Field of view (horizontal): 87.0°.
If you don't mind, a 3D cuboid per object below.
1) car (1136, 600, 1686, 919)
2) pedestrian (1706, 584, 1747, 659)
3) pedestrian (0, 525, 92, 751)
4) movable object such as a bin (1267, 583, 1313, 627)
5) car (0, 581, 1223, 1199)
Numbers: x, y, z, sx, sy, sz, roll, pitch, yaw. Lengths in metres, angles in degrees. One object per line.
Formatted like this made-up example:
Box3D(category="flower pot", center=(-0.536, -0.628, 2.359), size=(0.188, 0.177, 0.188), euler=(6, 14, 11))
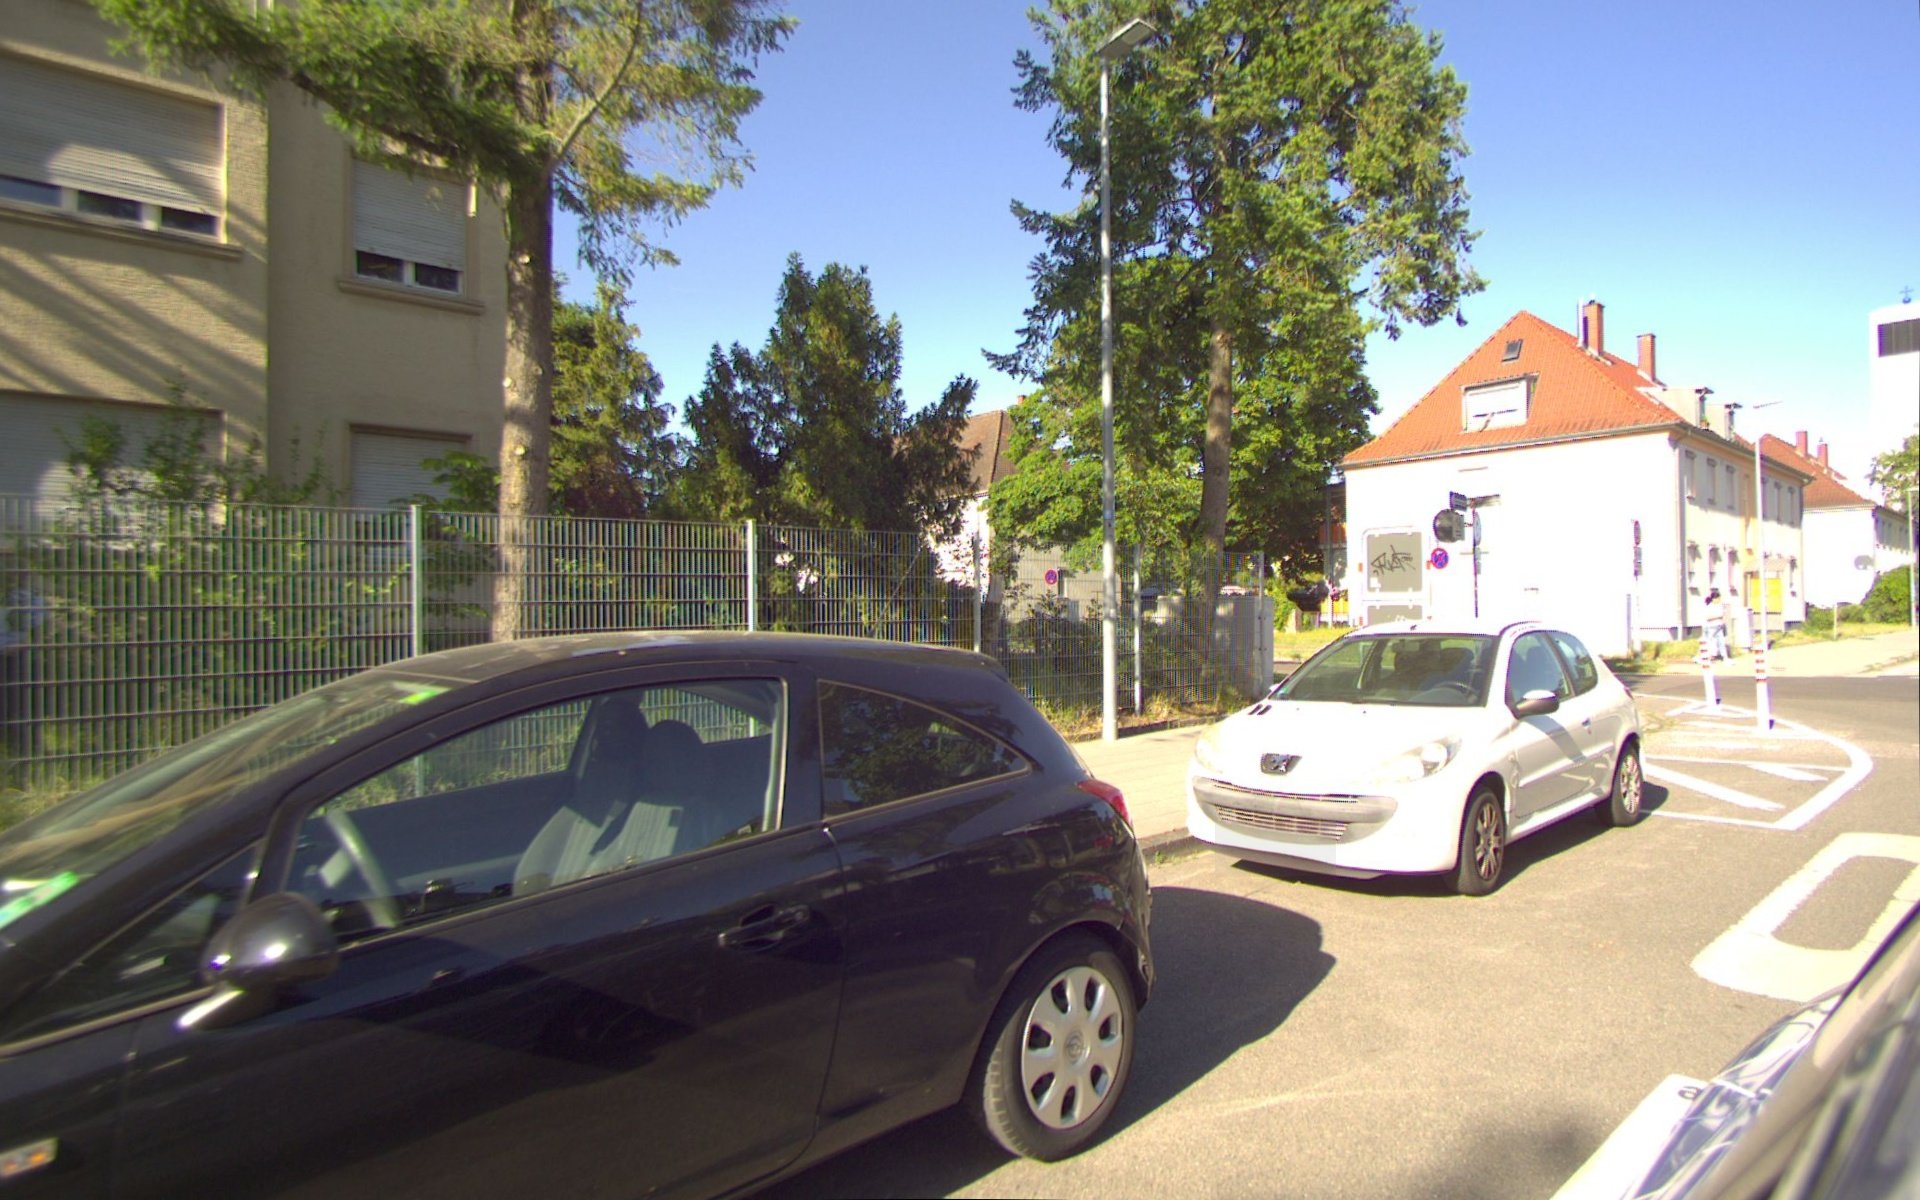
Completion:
Box3D(category="car", center=(3.149, 0.772, 6.670), size=(4.061, 1.441, 1.674), euler=(-1, -2, -40))
Box3D(category="pedestrian", center=(17.871, 0.486, 23.600), size=(0.639, 1.687, 0.649), euler=(-3, 2, -42))
Box3D(category="pedestrian", center=(-7.262, 0.287, 7.852), size=(0.637, 1.683, 0.651), euler=(0, -1, -24))
Box3D(category="movable object such as a bin", center=(12.513, 0.199, 38.373), size=(1.173, 1.629, 1.173), euler=(0, -2, -40))
Box3D(category="car", center=(-1.271, 0.768, 2.595), size=(3.924, 1.530, 1.797), euler=(-1, -2, -40))
